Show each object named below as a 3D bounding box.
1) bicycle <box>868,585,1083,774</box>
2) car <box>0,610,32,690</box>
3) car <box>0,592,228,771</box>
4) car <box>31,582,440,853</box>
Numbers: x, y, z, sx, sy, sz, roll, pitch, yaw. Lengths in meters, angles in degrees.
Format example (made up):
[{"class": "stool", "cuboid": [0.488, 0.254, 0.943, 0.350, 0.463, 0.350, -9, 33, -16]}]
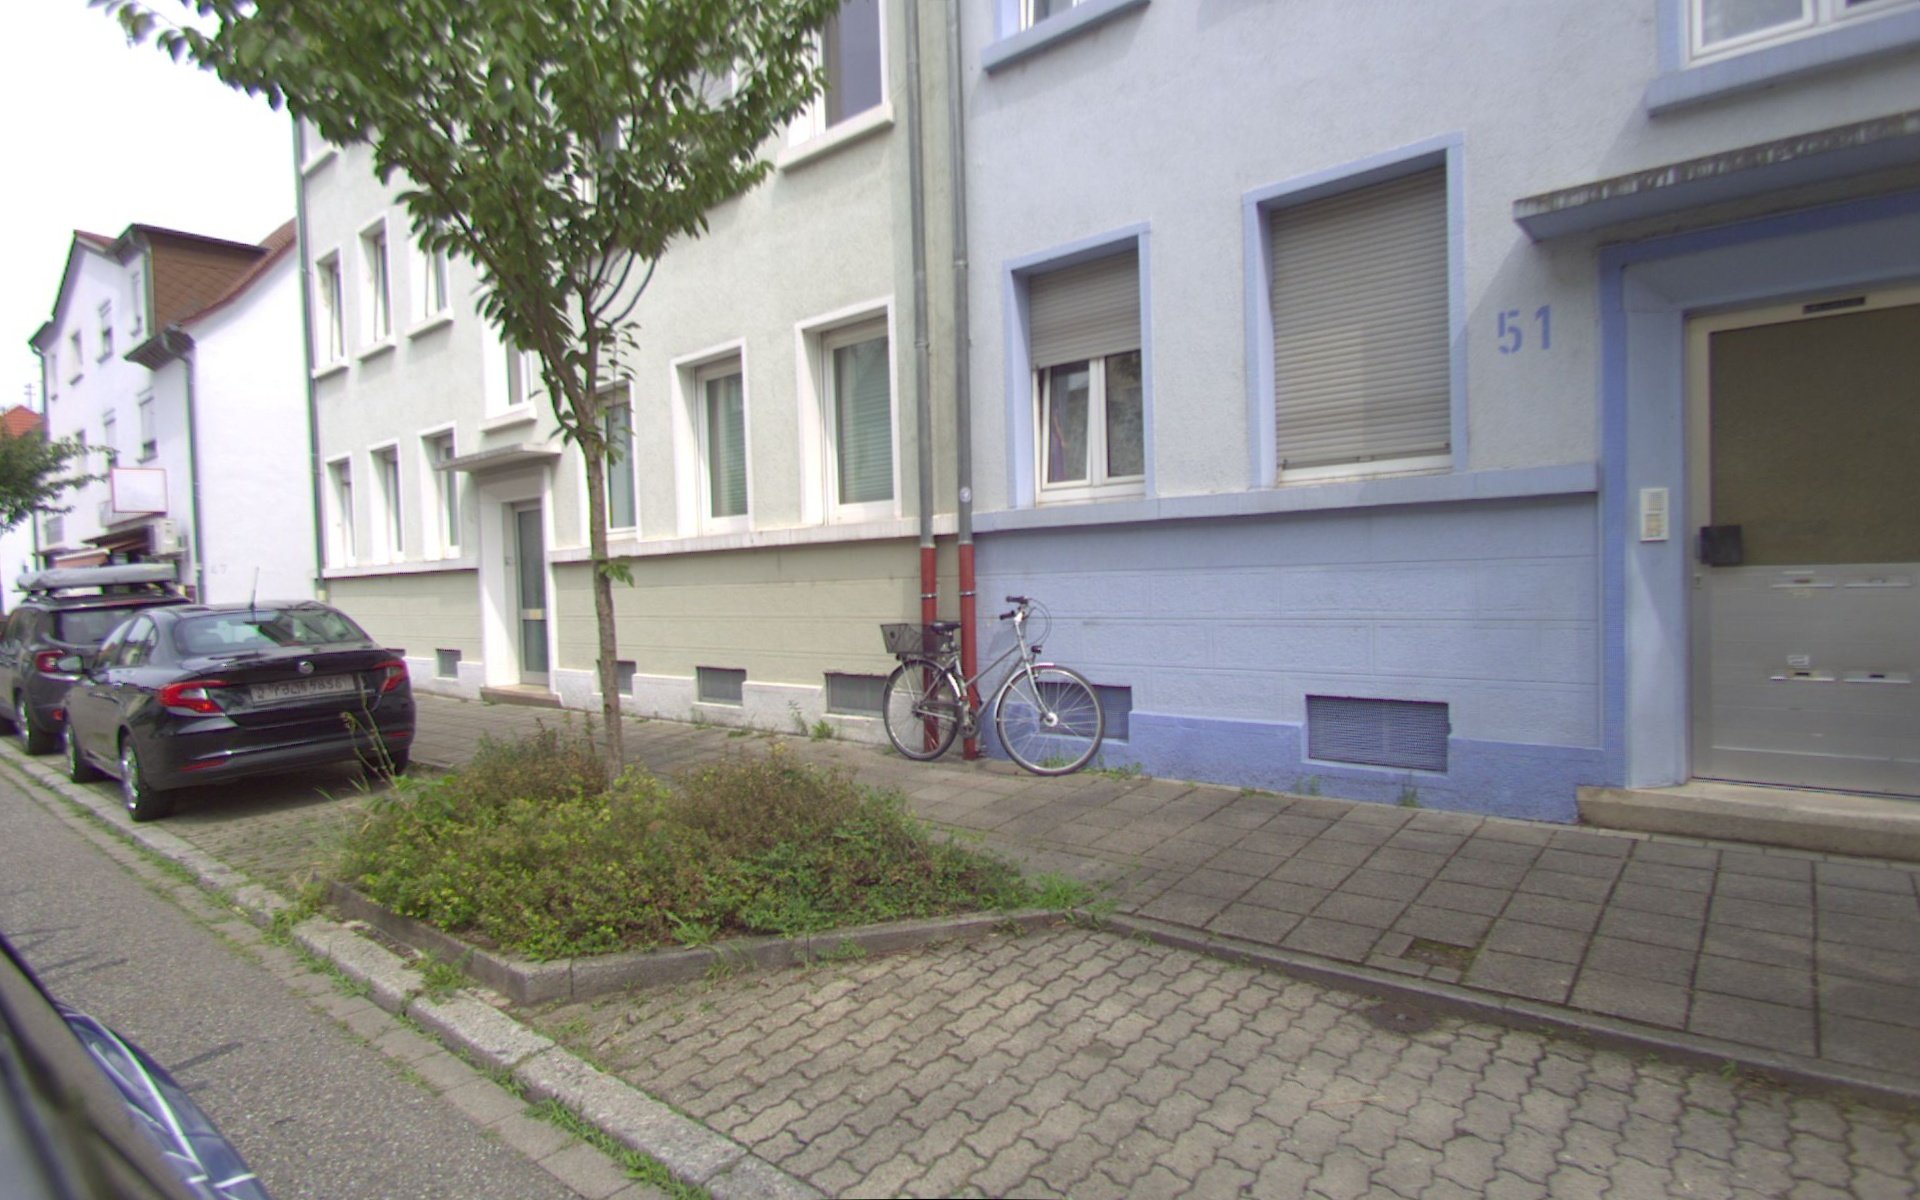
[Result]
[{"class": "bicycle", "cuboid": [0.064, 0.477, 6.657, 1.537, 1.122, 0.363, -1, 0, 41]}, {"class": "car", "cuboid": [-21.332, 1.037, 21.566, 4.111, 1.613, 1.690, -1, 0, 39]}, {"class": "car", "cuboid": [-10.441, 0.816, 11.983, 4.244, 1.593, 1.677, -1, 7, 39]}, {"class": "car", "cuboid": [-6.073, 0.732, 8.285, 4.247, 1.553, 1.685, -1, 5, 41]}]
